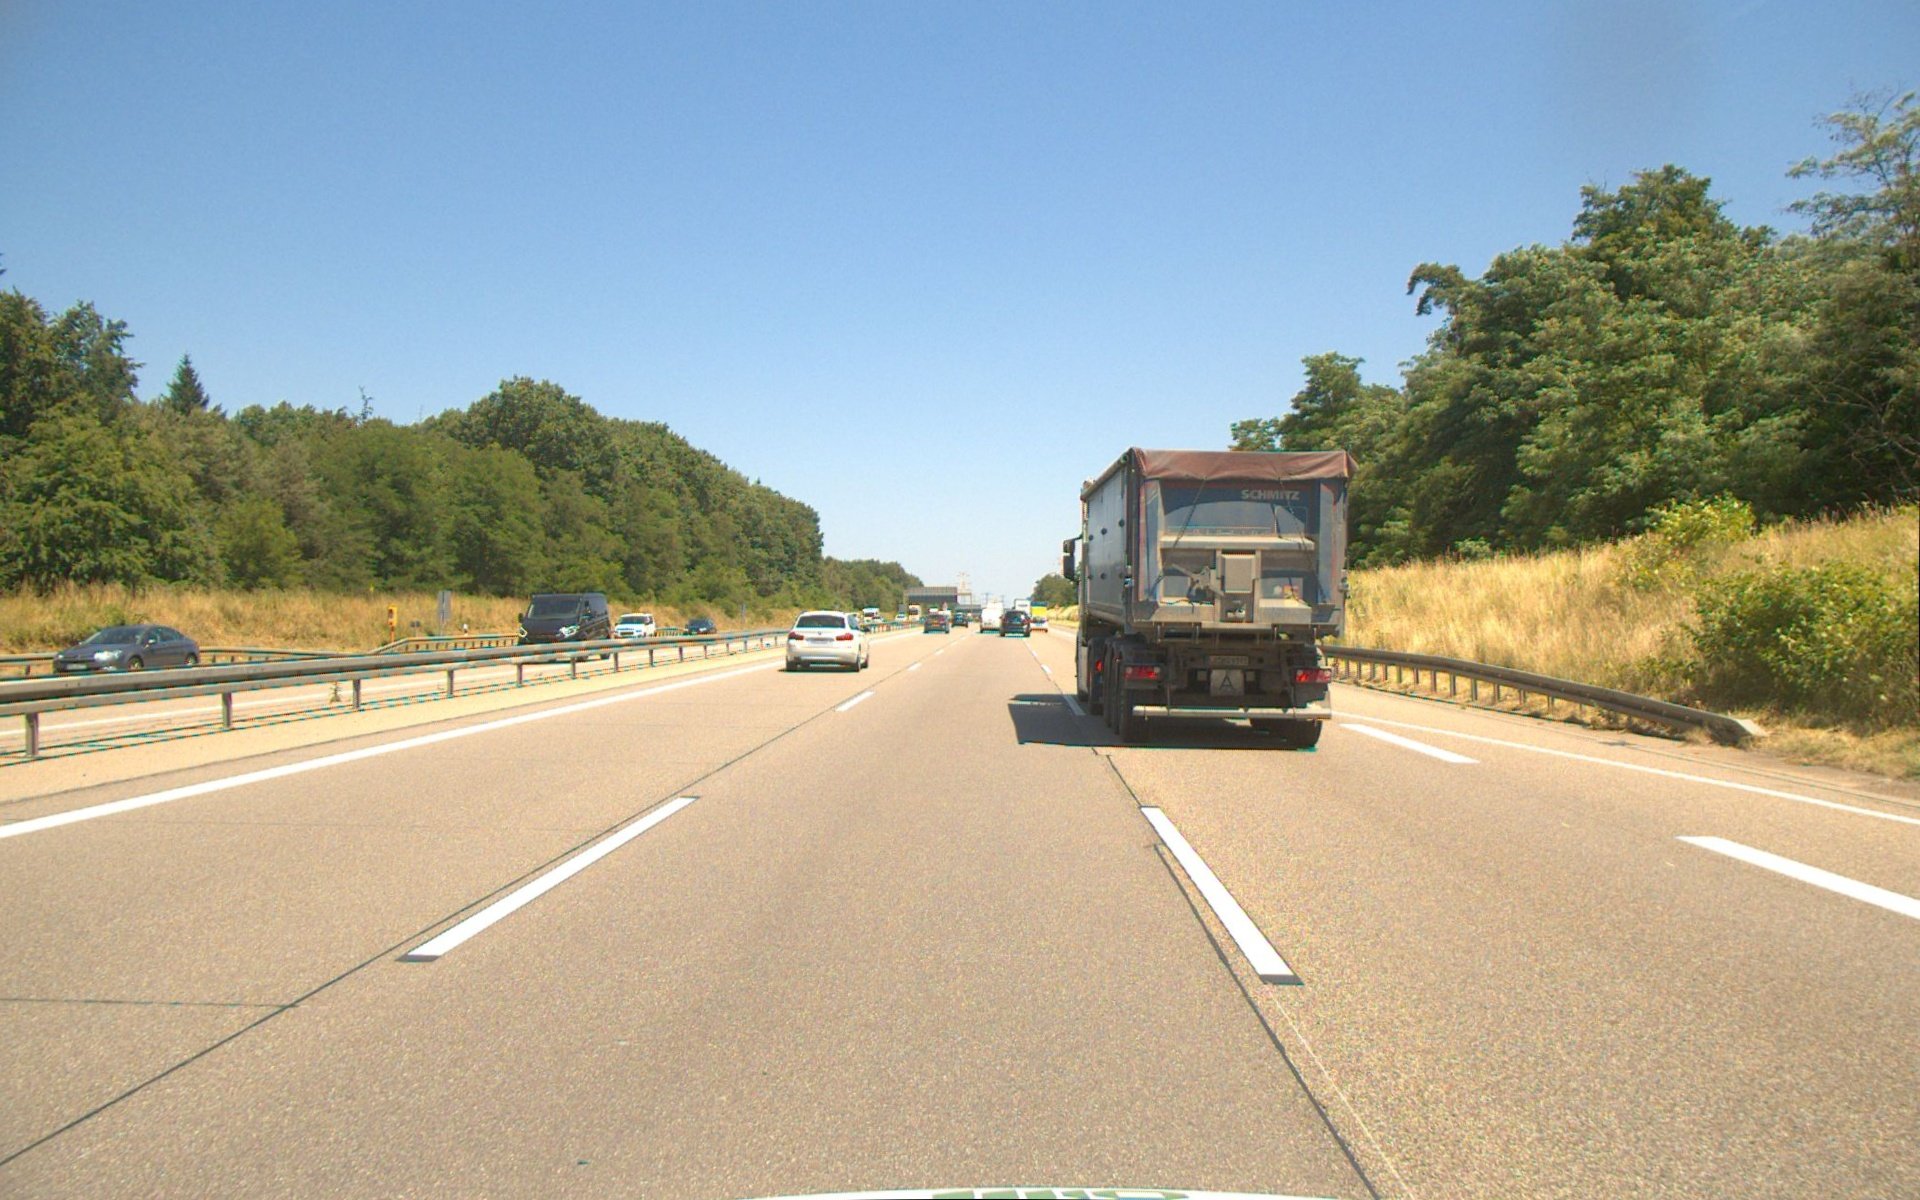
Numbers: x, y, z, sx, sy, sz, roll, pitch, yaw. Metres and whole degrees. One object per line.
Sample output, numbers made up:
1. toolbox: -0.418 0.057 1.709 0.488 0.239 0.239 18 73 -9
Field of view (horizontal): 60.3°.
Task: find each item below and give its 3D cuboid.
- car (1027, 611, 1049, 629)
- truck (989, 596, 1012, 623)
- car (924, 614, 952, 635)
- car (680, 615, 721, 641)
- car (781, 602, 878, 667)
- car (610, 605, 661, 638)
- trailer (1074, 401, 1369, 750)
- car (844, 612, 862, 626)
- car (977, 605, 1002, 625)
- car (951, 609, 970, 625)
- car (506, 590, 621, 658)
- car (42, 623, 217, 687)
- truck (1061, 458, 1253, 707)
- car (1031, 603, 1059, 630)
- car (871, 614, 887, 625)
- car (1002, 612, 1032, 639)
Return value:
1. car: 6.743 1.723 142.855 1.783 1.518 3.738 1 -1 3
2. truck: 4.598 1.097 187.259 2.379 2.935 6.204 1 -1 0
3. car: -1.587 1.788 121.367 1.794 1.457 5.000 1 0 2
4. car: -18.406 1.940 117.528 1.952 1.733 4.980 -2 0 1
5. car: -3.275 0.856 42.590 1.923 1.530 5.405 1 -1 1
6. car: -19.238 1.249 98.326 1.952 1.860 4.643 -2 0 1
7. trailer: 3.187 -0.278 22.737 2.680 3.824 9.109 0 0 0
8. car: -15.104 2.676 234.012 1.952 1.987 5.245 -2 -1 2
9. car: 2.344 1.202 130.134 1.855 1.495 4.262 1 0 2
10. car: 0.079 1.793 176.237 1.837 1.608 3.929 1 0 1
11. car: -12.079 0.705 50.737 2.232 1.974 4.943 -1 0 1
12. car: -21.199 1.361 42.492 1.887 1.489 4.943 -1 0 1
13. truck: 3.221 -0.283 28.493 2.629 3.824 5.944 0 0 0
14. car: 8.783 1.713 171.225 2.612 2.680 6.112 1 -1 0
15. car: -11.429 2.759 233.671 1.813 1.554 5.206 -1 -1 3
16. car: 3.785 1.658 109.826 1.794 1.701 3.999 2 -1 0
